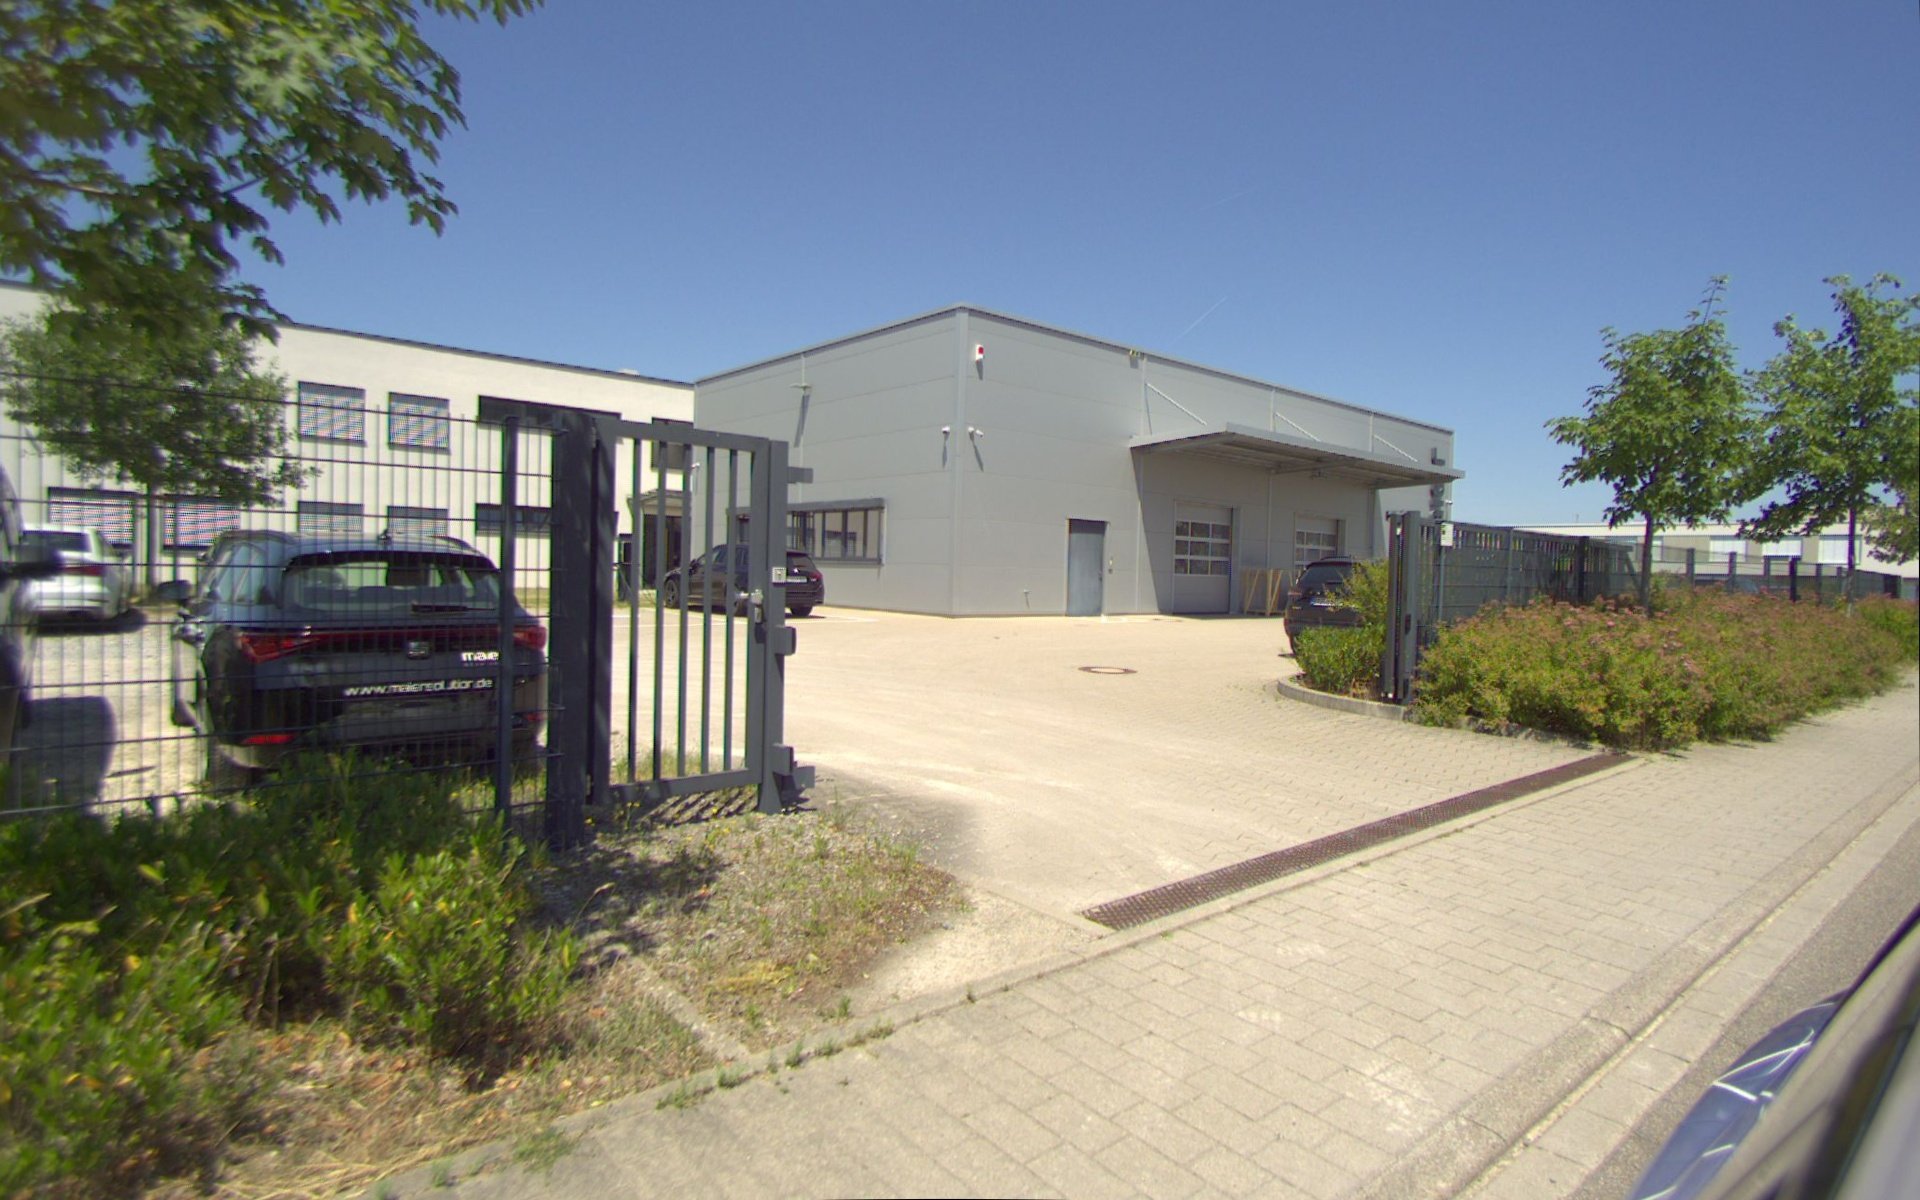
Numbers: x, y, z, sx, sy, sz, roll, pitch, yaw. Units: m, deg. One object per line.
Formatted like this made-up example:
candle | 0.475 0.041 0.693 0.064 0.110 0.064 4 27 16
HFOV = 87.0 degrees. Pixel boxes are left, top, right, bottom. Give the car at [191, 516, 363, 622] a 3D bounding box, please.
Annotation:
car | -10.675 -0.543 15.697 1.787 1.420 3.996 0 4 -40

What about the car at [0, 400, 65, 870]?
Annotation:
car | -6.155 -0.017 5.454 1.869 1.896 5.126 0 4 -40

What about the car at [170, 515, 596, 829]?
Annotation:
car | -4.107 0.203 6.807 1.734 1.439 4.225 0 4 -40

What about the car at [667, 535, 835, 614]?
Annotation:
car | -4.545 -0.595 21.599 1.818 1.504 3.996 0 3 -40

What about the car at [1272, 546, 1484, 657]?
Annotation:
car | 6.800 -0.028 16.308 3.811 1.574 1.546 -1 3 -40

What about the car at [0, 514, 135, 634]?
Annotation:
car | -12.403 -0.421 13.729 1.734 1.420 3.886 0 3 -37
